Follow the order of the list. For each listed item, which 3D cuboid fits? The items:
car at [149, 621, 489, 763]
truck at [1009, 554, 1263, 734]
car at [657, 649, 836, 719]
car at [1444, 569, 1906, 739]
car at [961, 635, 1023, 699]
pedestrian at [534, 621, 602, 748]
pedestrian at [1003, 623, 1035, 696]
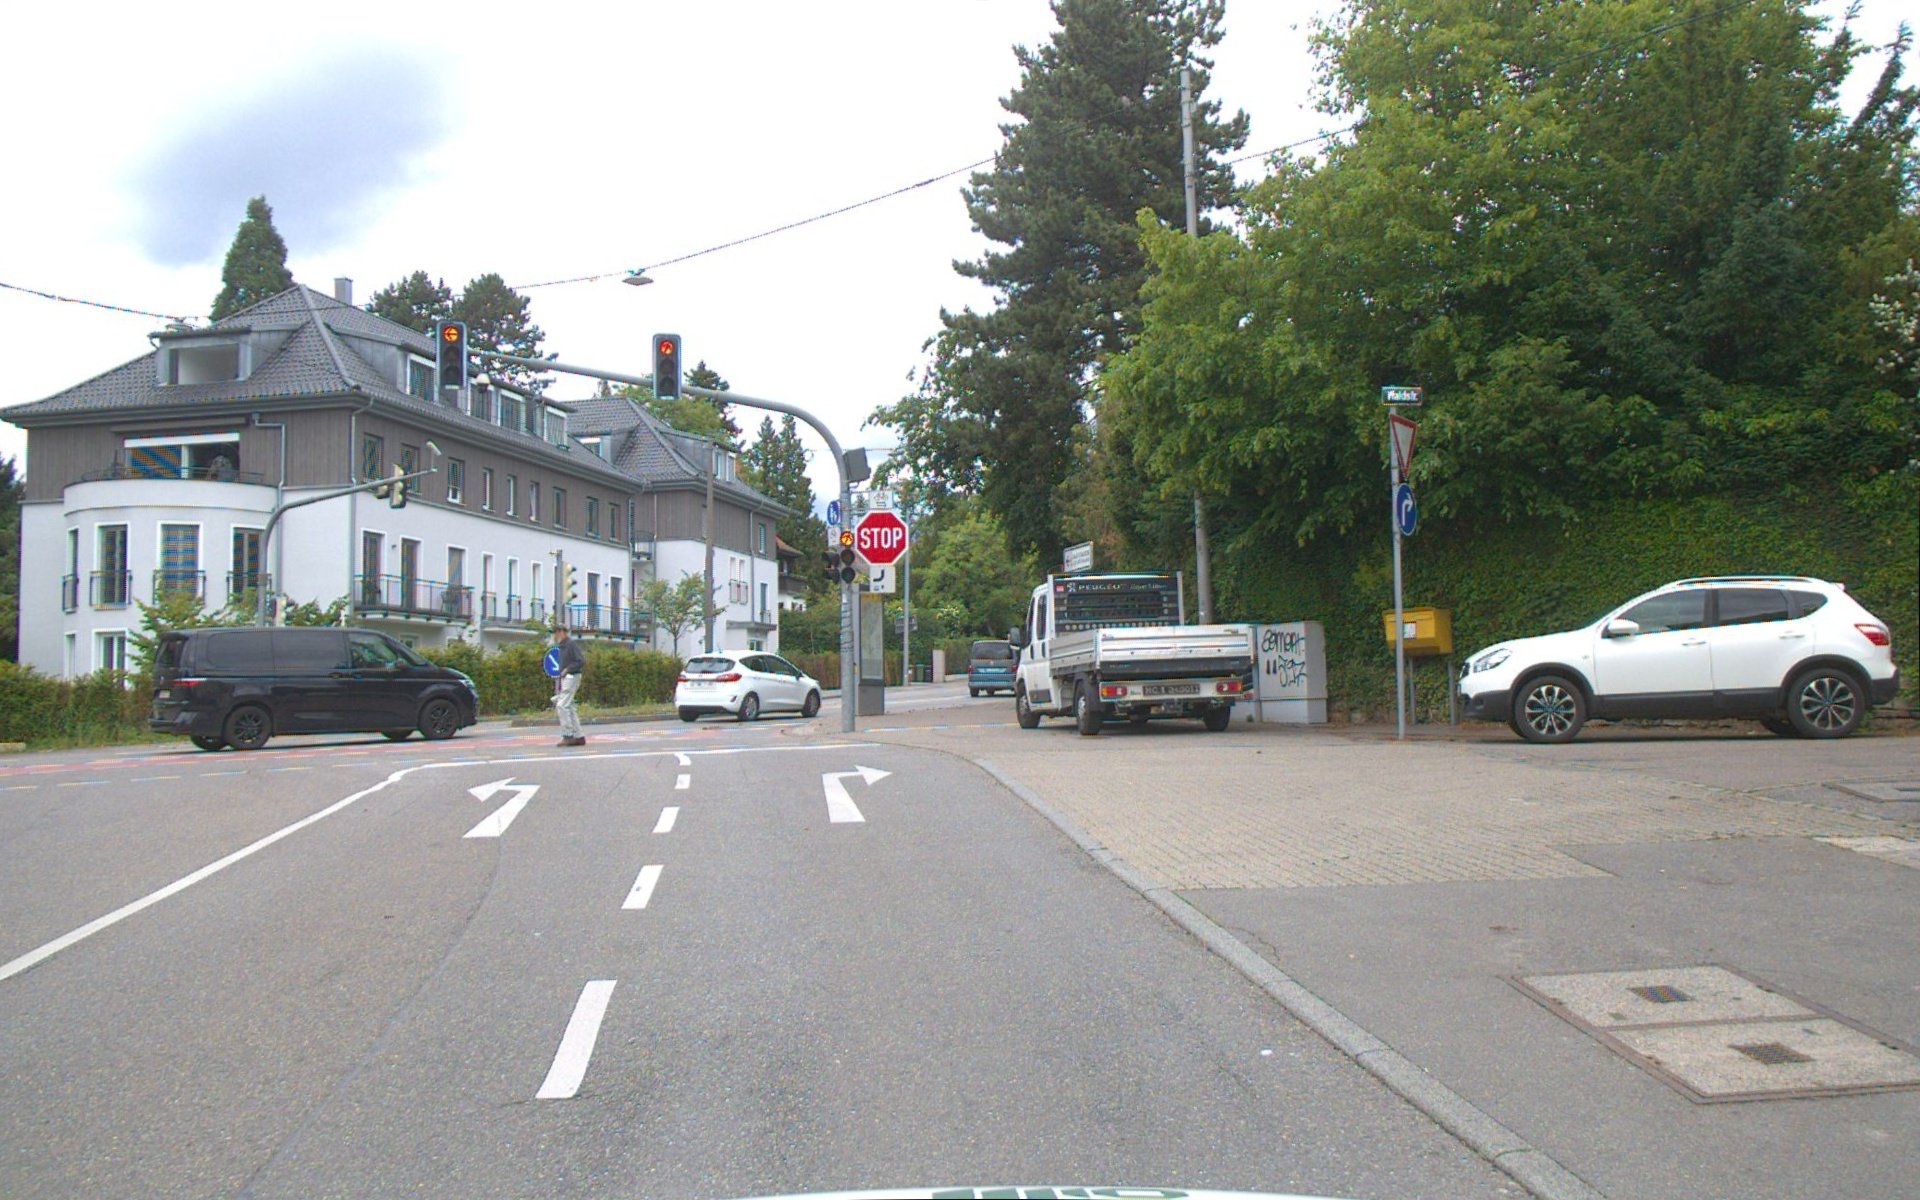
[{"bbox_3d":[-10.284,1.417,26.748,4.737,2.049,1.970,1,0,-41],"label":"car"},{"bbox_3d":[2.298,0.685,23.618,2.143,2.234,5.868,0,-3,-9],"label":"truck"},{"bbox_3d":[-4.505,1.774,35.521,1.893,1.407,3.995,-2,-2,27],"label":"car"},{"bbox_3d":[7.312,0.611,17.409,4.150,1.622,1.989,-1,-3,14],"label":"car"},{"bbox_3d":[1.105,2.370,59.327,1.953,2.049,4.508,-1,1,-2],"label":"car"},{"bbox_3d":[-5.428,1.154,22.903,0.693,1.711,0.676,-1,0,-38],"label":"pedestrian"},{"bbox_3d":[1.683,1.688,47.272,0.821,2.049,0.589,-2,-1,-1],"label":"pedestrian"}]
